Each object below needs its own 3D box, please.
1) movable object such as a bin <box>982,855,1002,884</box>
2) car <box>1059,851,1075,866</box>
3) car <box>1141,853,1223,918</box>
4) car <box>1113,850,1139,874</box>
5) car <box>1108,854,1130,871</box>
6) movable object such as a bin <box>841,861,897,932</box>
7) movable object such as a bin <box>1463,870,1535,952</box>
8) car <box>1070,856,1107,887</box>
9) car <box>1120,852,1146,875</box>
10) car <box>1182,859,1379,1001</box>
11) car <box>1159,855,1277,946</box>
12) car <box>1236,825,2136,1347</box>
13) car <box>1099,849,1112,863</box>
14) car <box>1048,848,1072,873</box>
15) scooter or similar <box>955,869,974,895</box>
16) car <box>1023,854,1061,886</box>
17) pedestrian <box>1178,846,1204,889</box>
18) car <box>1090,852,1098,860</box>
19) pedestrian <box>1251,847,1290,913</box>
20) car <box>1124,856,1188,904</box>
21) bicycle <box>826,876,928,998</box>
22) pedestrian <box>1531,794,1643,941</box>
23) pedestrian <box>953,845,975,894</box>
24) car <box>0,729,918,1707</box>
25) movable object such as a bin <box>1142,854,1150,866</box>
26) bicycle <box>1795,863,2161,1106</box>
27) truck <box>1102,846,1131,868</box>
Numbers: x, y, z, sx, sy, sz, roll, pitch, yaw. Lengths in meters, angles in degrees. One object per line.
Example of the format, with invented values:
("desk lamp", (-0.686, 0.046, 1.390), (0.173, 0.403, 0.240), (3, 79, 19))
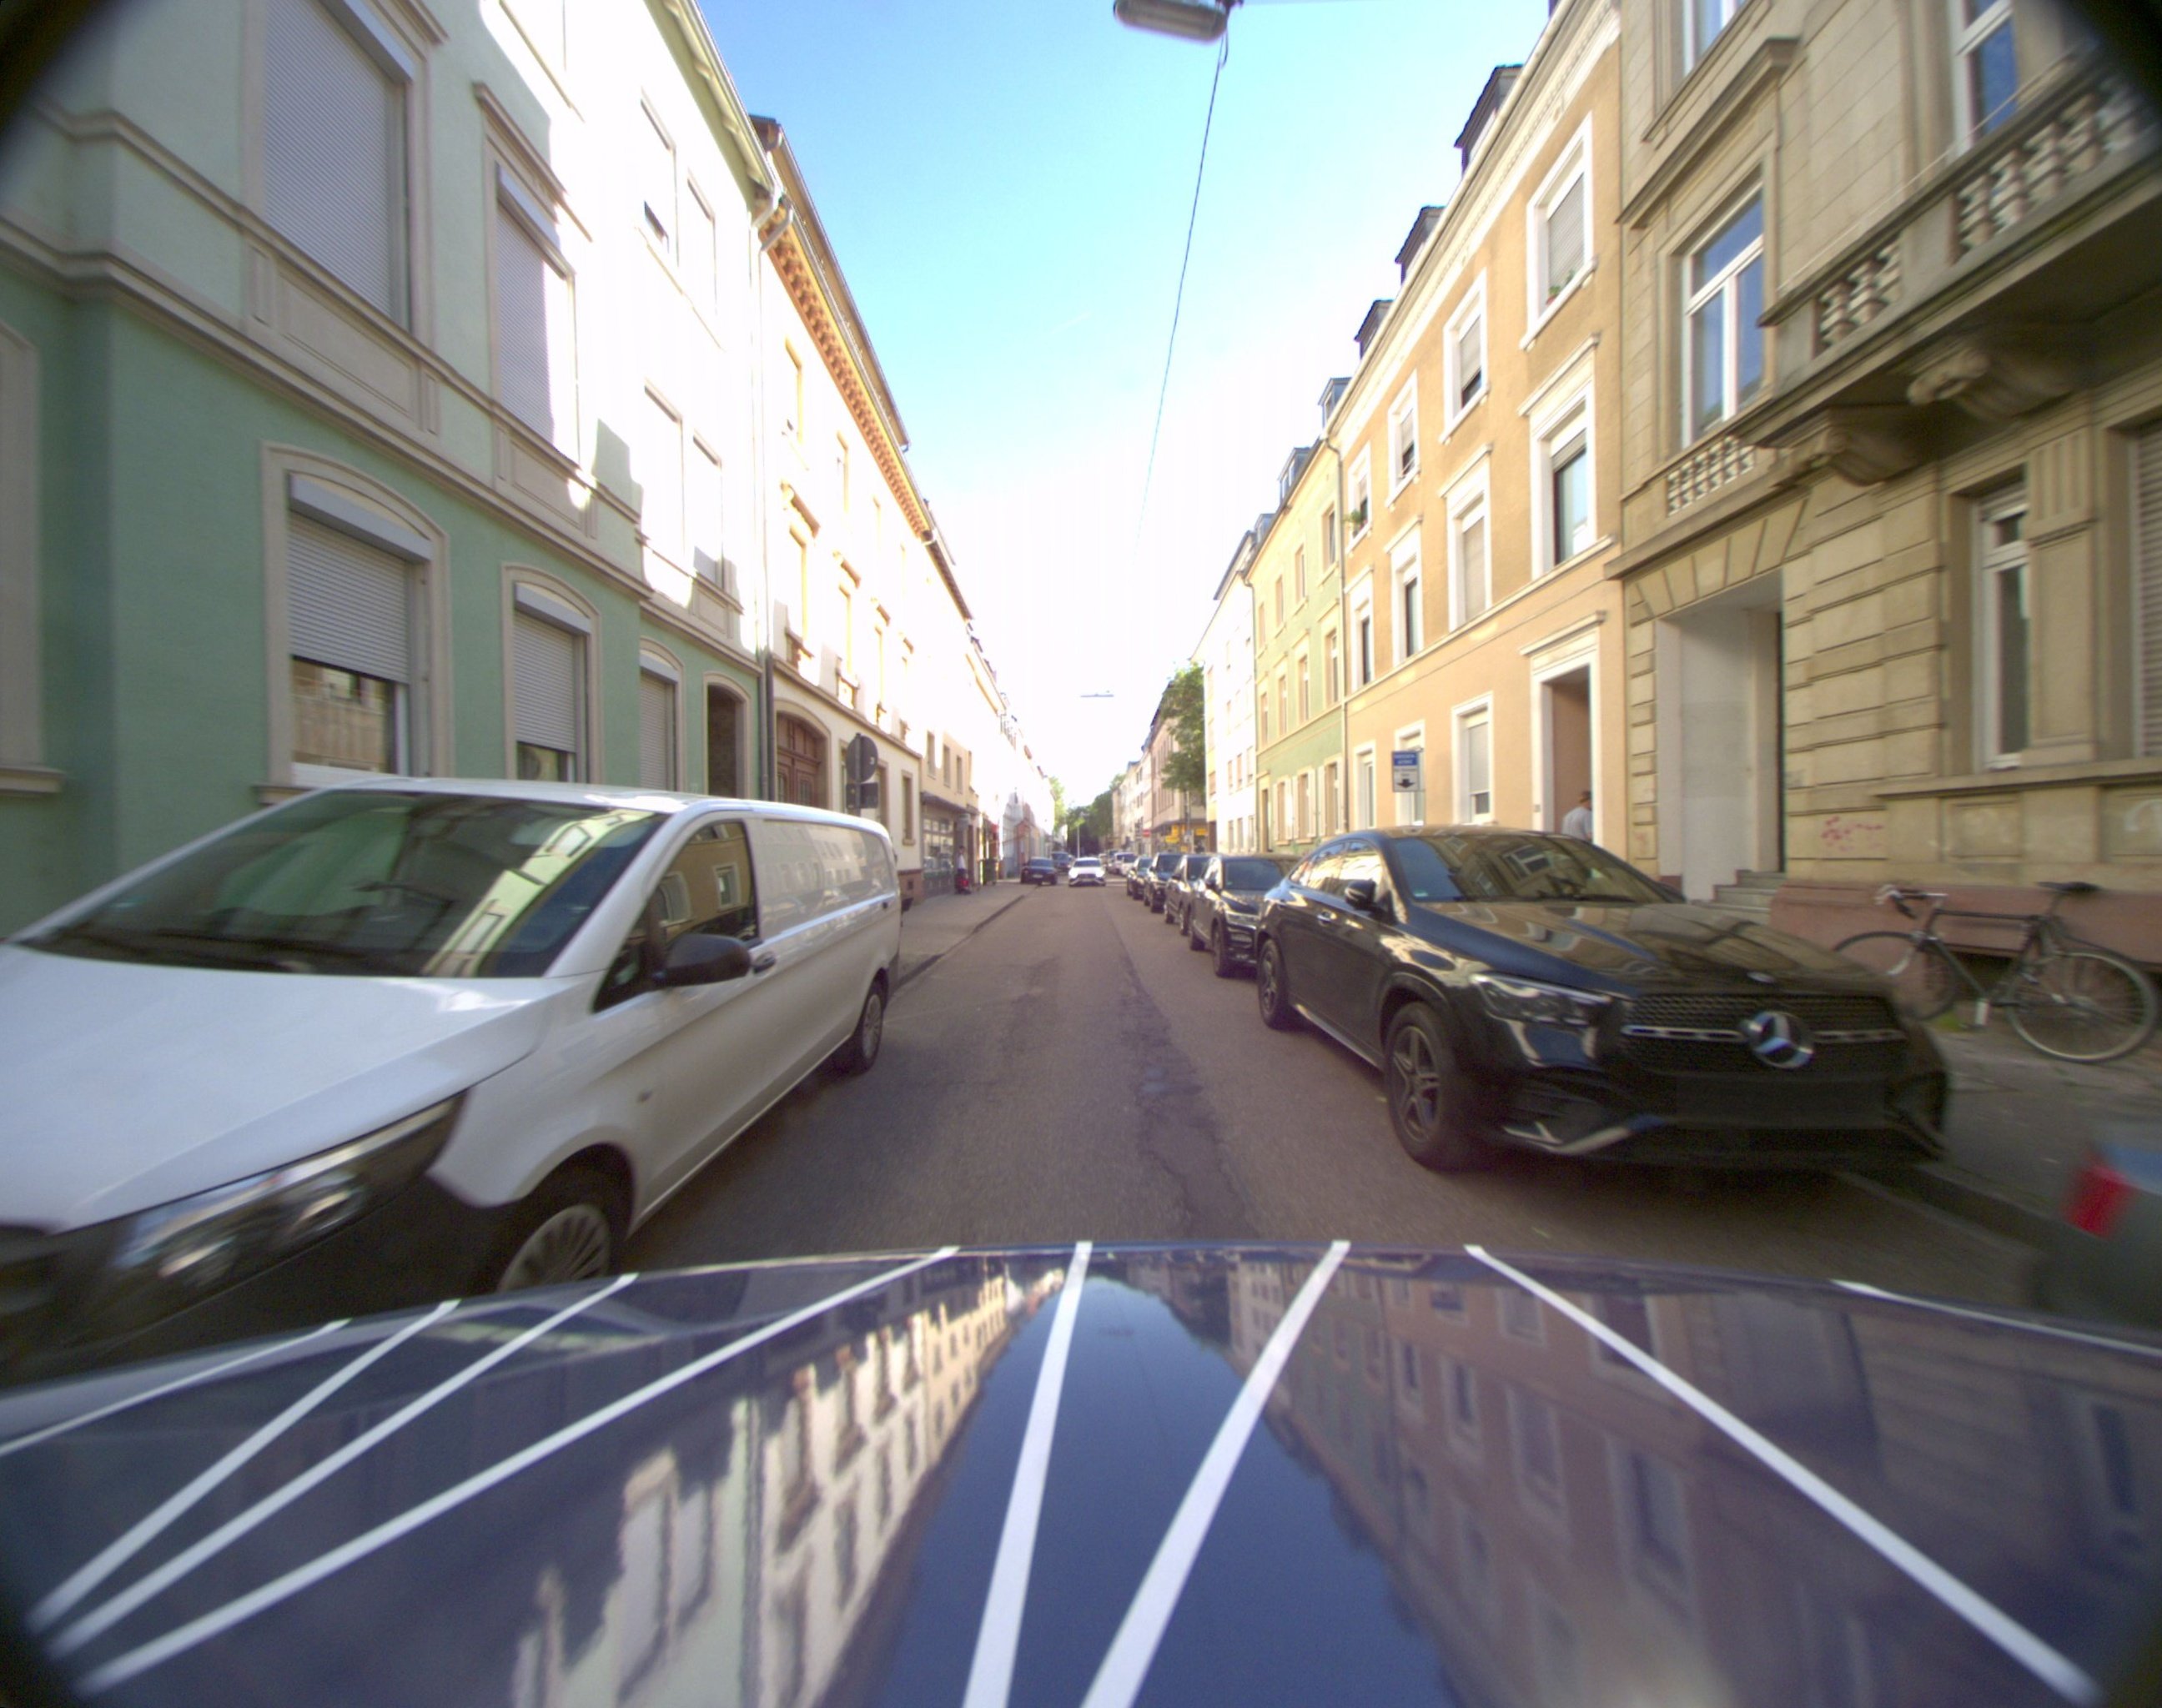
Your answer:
("movable object such as a bin", (-4.436, 0.770, 37.982), (0.748, 1.428, 1.372), (2, 1, 2))
("car", (-1.750, 0.545, 97.914), (1.898, 1.875, 4.457), (-1, 1, 0))
("car", (2.687, 0.798, 21.168), (1.748, 1.605, 4.603), (0, 0, 1))
("car", (3.642, 0.653, 62.650), (1.771, 1.887, 4.808), (1, 0, -1))
("car", (3.412, 0.764, 68.652), (1.669, 1.514, 4.488), (1, 0, -1))
("movable object such as a bin", (-4.490, 0.875, 16.171), (0.839, 1.382, 1.296), (1, 2, -1))
("movable object such as a bin", (6.071, 0.807, 11.053), (0.721, 1.125, 0.584), (-1, 1, -3))
("car", (0.372, 0.842, 38.923), (1.761, 1.399, 4.021), (-1, 1, 0))
("car", (3.829, 0.680, 56.432), (1.671, 1.551, 3.722), (-1, 0, 1))
("car", (2.500, 0.855, 10.608), (1.717, 1.522, 4.367), (0, 0, 2))
("car", (2.619, 0.824, 15.374), (1.620, 1.544, 3.977), (-1, 0, -1))
("car", (2.520, 0.760, 5.088), (1.941, 1.726, 5.141), (0, 0, 0))
("car", (3.828, 0.351, 117.910), (1.913, 2.076, 4.696), (-1, 0, 0))
("car", (-1.810, 0.571, 67.134), (1.975, 2.017, 4.898), (-3, 0, -1))
("scooter or similar", (-4.334, 1.053, 28.364), (0.491, 0.939, 0.868), (0, 0, 7))
("car", (-2.119, 0.838, 42.183), (1.805, 1.570, 4.897), (-2, 0, 0))
("pedestrian", (4.791, 0.566, 33.070), (0.913, 1.822, 1.245), (-1, 1, 0))
("car", (2.894, 0.384, 167.251), (1.786, 1.674, 4.021), (-1, 1, 0))
("pedestrian", (5.066, 0.674, 20.351), (0.766, 1.704, 0.883), (-2, 1, -1))
("car", (2.568, 0.857, 27.030), (1.718, 1.480, 4.851), (1, 0, -1))
("bicycle", (-2.547, 0.975, 9.746), (0.576, 1.313, 2.200), (0, 0, 4))
("pedestrian", (6.593, 0.158, 9.946), (0.868, 1.826, 0.883), (-1, 1, -1))
("pedestrian", (-4.532, 0.593, 29.323), (0.651, 1.849, 0.747), (1, 0, -22))
("car", (-2.436, 0.728, 3.770), (1.988, 1.873, 5.599), (2, 0, 0))
("movable object such as a bin", (6.629, 0.636, 77.764), (0.759, 1.184, 0.686), (-1, 1, -4))
("bicycle", (5.867, 0.723, 5.055), (0.512, 1.269, 1.867), (-1, 1, 2))
("truck", (3.694, 0.275, 80.015), (2.171, 2.295, 6.344), (0, 1, -5))
